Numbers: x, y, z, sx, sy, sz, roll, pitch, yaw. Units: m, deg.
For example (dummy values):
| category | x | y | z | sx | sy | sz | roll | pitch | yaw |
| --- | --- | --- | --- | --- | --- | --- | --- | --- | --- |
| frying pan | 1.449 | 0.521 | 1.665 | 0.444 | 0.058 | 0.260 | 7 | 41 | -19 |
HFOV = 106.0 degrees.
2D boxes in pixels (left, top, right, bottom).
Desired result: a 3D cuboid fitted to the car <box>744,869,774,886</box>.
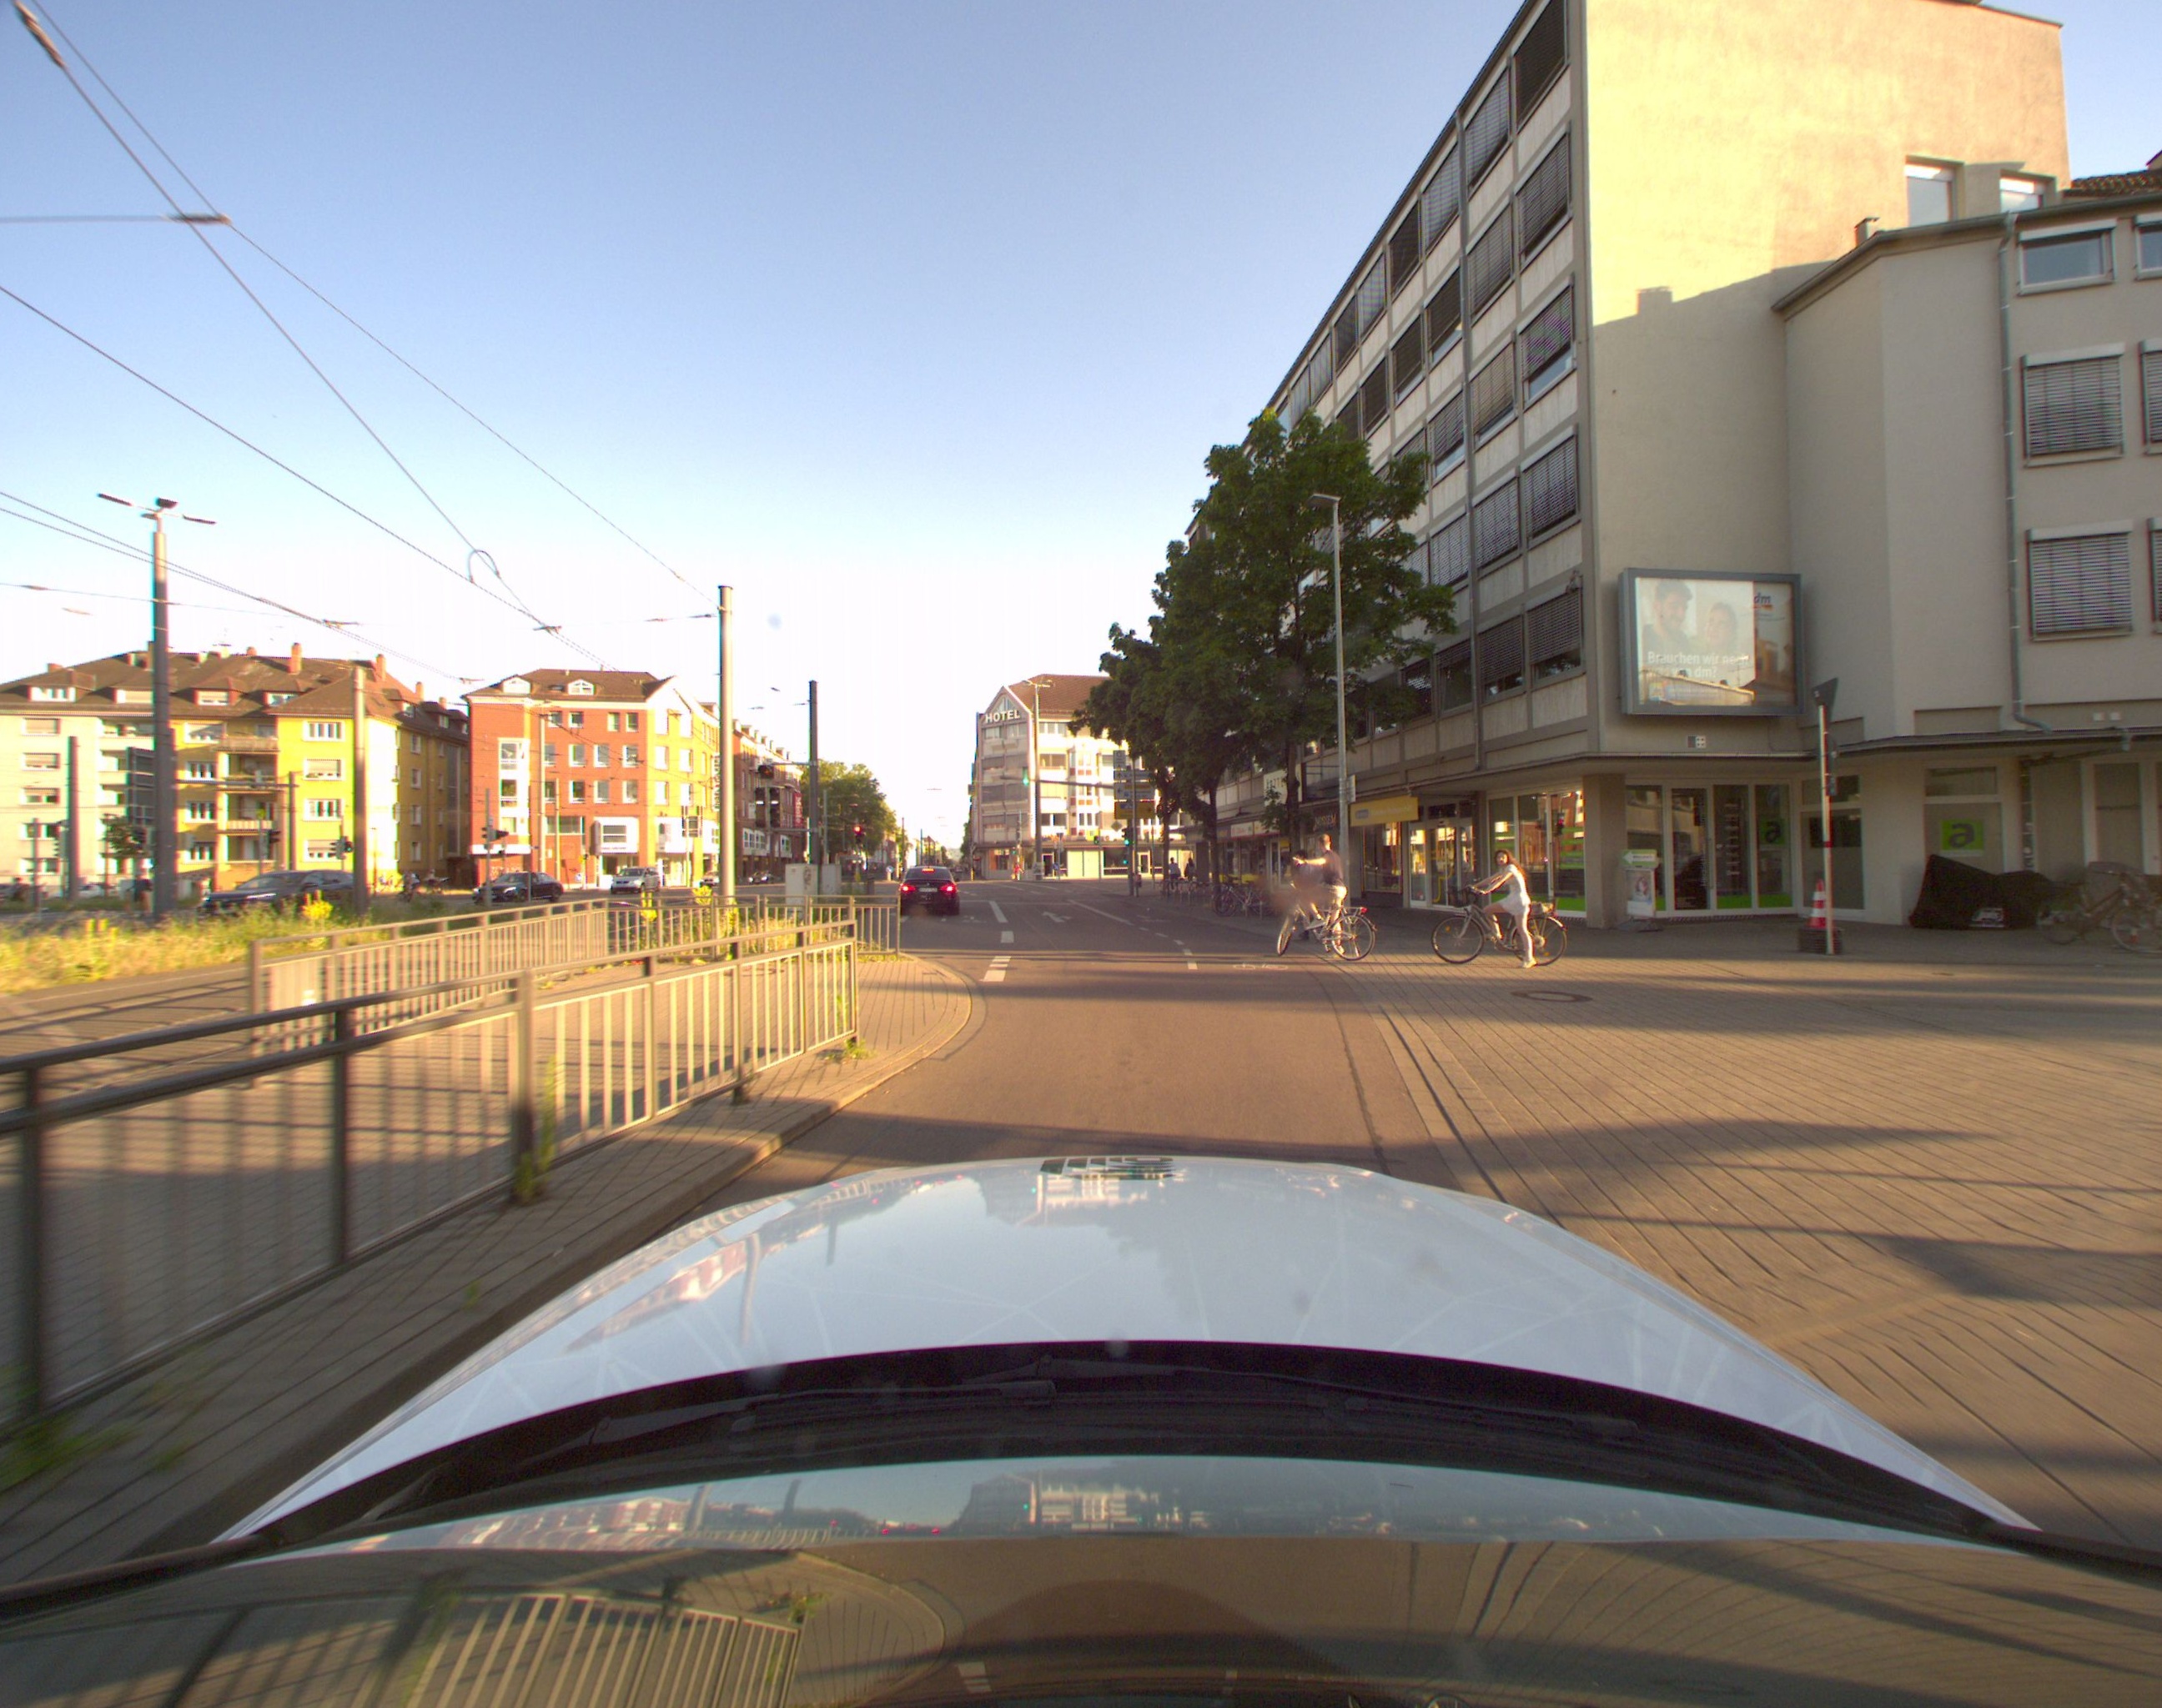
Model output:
| category | x | y | z | sx | sy | sz | roll | pitch | yaw |
| --- | --- | --- | --- | --- | --- | --- | --- | --- | --- |
| car | -33.602 | 2.435 | 85.090 | 1.994 | 1.585 | 4.462 | -1 | -1 | -11 |

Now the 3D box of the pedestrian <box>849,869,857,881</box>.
| category | x | y | z | sx | sy | sz | roll | pitch | yaw |
| --- | --- | --- | --- | --- | --- | --- | --- | --- | --- |
| pedestrian | -32.906 | 2.974 | 117.563 | 0.988 | 1.681 | 0.723 | -1 | -1 | -10 |

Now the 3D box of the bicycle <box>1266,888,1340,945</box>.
| category | x | y | z | sx | sy | sz | roll | pitch | yaw |
| --- | --- | --- | --- | --- | --- | --- | --- | --- | --- |
| bicycle | 4.195 | 1.158 | 15.521 | 0.465 | 0.970 | 1.790 | -1 | -1 | -16 |

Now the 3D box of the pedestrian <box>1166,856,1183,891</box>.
| category | x | y | z | sx | sy | sz | roll | pitch | yaw |
| --- | --- | --- | --- | --- | --- | --- | --- | --- | --- |
| pedestrian | 4.445 | 0.930 | 38.818 | 0.683 | 1.667 | 0.670 | -1 | -1 | -5 |

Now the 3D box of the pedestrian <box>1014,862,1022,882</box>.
| category | x | y | z | sx | sy | sz | roll | pitch | yaw |
| --- | --- | --- | --- | --- | --- | --- | --- | --- | --- |
| pedestrian | -5.821 | 1.669 | 75.079 | 0.685 | 1.854 | 0.668 | -1 | -1 | -12 |

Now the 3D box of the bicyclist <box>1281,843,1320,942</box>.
| category | x | y | z | sx | sy | sz | roll | pitch | yaw |
| --- | --- | --- | --- | --- | --- | --- | --- | --- | --- |
| bicyclist | 4.179 | 0.723 | 15.549 | 0.465 | 1.830 | 0.556 | -1 | -1 | -17 |

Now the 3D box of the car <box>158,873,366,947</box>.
| category | x | y | z | sx | sy | sz | roll | pitch | yaw |
| --- | --- | --- | --- | --- | --- | --- | --- | --- | --- |
| car | -24.252 | 1.563 | 24.433 | 1.994 | 1.901 | 4.793 | -1 | -1 | -11 |

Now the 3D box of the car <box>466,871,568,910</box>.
| category | x | y | z | sx | sy | sz | roll | pitch | yaw |
| --- | --- | --- | --- | --- | --- | --- | --- | --- | --- |
| car | -25.037 | 1.572 | 36.360 | 1.994 | 1.585 | 4.569 | -1 | -1 | -11 |

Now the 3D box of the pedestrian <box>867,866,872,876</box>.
| category | x | y | z | sx | sy | sz | roll | pitch | yaw |
| --- | --- | --- | --- | --- | --- | --- | --- | --- | --- |
| pedestrian | -35.748 | 2.821 | 137.568 | 0.723 | 1.681 | 0.989 | -1 | -1 | -6 |

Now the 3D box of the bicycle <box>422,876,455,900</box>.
| category | x | y | z | sx | sy | sz | roll | pitch | yaw |
| --- | --- | --- | --- | --- | --- | --- | --- | --- | --- |
| bicycle | -37.386 | 1.956 | 47.418 | 0.618 | 1.325 | 2.007 | 1 | -1 | -12 |

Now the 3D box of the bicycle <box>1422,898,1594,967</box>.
| category | x | y | z | sx | sy | sz | roll | pitch | yaw |
| --- | --- | --- | --- | --- | --- | --- | --- | --- | --- |
| bicycle | 5.911 | 1.075 | 11.414 | 1.991 | 0.881 | 0.844 | -1 | -1 | 15 |

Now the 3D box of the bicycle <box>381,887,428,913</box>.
| category | x | y | z | sx | sy | sz | roll | pitch | yaw |
| --- | --- | --- | --- | --- | --- | --- | --- | --- | --- |
| bicycle | -28.545 | 1.936 | 34.390 | 0.664 | 1.008 | 1.621 | -1 | -1 | -2 |

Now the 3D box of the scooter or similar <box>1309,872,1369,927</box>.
| category | x | y | z | sx | sy | sz | roll | pitch | yaw |
| --- | --- | --- | --- | --- | --- | --- | --- | --- | --- |
| scooter or similar | 5.971 | 1.038 | 18.878 | 1.261 | 1.235 | 0.340 | -1 | -1 | 33 |

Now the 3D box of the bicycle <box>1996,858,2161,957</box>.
| category | x | y | z | sx | sy | sz | roll | pitch | yaw |
| --- | --- | --- | --- | --- | --- | --- | --- | --- | --- |
| bicycle | 14.813 | 0.732 | 11.994 | 0.697 | 1.220 | 2.122 | -1 | 2 | 14 |

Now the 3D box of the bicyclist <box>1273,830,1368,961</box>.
| category | x | y | z | sx | sy | sz | roll | pitch | yaw |
| --- | --- | --- | --- | --- | --- | --- | --- | --- | --- |
| bicyclist | 3.679 | 0.611 | 12.546 | 1.101 | 1.917 | 0.845 | -2 | -1 | 45 |

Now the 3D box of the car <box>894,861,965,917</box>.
| category | x | y | z | sx | sy | sz | roll | pitch | yaw |
| --- | --- | --- | --- | --- | --- | --- | --- | --- | --- |
| car | -4.705 | 1.039 | 25.388 | 1.994 | 1.585 | 3.985 | 1 | -1 | -10 |

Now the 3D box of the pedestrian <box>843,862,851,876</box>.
| category | x | y | z | sx | sy | sz | roll | pitch | yaw |
| --- | --- | --- | --- | --- | --- | --- | --- | --- | --- |
| pedestrian | -32.387 | 2.060 | 112.665 | 0.988 | 2.014 | 0.723 | 1 | -2 | -10 |

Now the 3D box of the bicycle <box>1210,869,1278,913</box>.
| category | x | y | z | sx | sy | sz | roll | pitch | yaw |
| --- | --- | --- | --- | --- | --- | --- | --- | --- | --- |
| bicycle | 4.813 | 1.093 | 24.140 | 1.896 | 1.235 | 0.668 | -1 | -1 | 2 |

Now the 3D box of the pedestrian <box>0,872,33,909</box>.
| category | x | y | z | sx | sy | sz | roll | pitch | yaw |
| --- | --- | --- | --- | --- | --- | --- | --- | --- | --- |
| pedestrian | -54.472 | 1.872 | 41.699 | 0.723 | 1.868 | 0.877 | -1 | -1 | -28 |

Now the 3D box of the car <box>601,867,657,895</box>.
| category | x | y | z | sx | sy | sz | roll | pitch | yaw |
| --- | --- | --- | --- | --- | --- | --- | --- | --- | --- |
| car | -27.639 | 1.636 | 49.958 | 1.997 | 1.585 | 4.092 | -1 | -1 | -15 |

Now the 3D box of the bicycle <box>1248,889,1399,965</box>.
| category | x | y | z | sx | sy | sz | roll | pitch | yaw |
| --- | --- | --- | --- | --- | --- | --- | --- | --- | --- |
| bicycle | 3.696 | 1.079 | 12.532 | 2.051 | 1.020 | 0.845 | -2 | -1 | 44 |

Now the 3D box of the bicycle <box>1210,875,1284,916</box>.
| category | x | y | z | sx | sy | sz | roll | pitch | yaw |
| --- | --- | --- | --- | --- | --- | --- | --- | --- | --- |
| bicycle | 4.712 | 1.183 | 23.161 | 1.987 | 1.110 | 0.669 | -1 | -1 | 4 |

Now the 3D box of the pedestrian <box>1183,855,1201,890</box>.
| category | x | y | z | sx | sy | sz | roll | pitch | yaw |
| --- | --- | --- | --- | --- | --- | --- | --- | --- | --- |
| pedestrian | 5.352 | 0.880 | 39.332 | 0.722 | 1.667 | 0.670 | -1 | -1 | -5 |

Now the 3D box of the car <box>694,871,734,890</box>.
| category | x | y | z | sx | sy | sz | roll | pitch | yaw |
| --- | --- | --- | --- | --- | --- | --- | --- | --- | --- |
| car | -30.415 | 2.160 | 67.592 | 1.666 | 1.448 | 4.196 | -1 | -1 | -4 |

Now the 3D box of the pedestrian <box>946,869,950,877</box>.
| category | x | y | z | sx | sy | sz | roll | pitch | yaw |
| --- | --- | --- | --- | --- | --- | --- | --- | --- | --- |
| pedestrian | -31.362 | 4.468 | 192.631 | 0.914 | 2.014 | 0.884 | -1 | -1 | -10 |

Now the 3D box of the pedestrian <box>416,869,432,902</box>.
| category | x | y | z | sx | sy | sz | roll | pitch | yaw |
| --- | --- | --- | --- | --- | --- | --- | --- | --- | --- |
| pedestrian | -37.861 | 1.806 | 46.928 | 0.503 | 1.868 | 0.560 | 1 | -1 | -14 |

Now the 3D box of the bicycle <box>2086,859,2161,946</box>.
| category | x | y | z | sx | sy | sz | roll | pitch | yaw |
| --- | --- | --- | --- | --- | --- | --- | --- | --- | --- |
| bicycle | 15.874 | 0.702 | 11.685 | 0.697 | 1.220 | 2.121 | -1 | 1 | 14 |

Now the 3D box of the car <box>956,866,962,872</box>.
| category | x | y | z | sx | sy | sz | roll | pitch | yaw |
| --- | --- | --- | --- | --- | --- | --- | --- | --- | --- |
| car | -32.097 | 4.062 | 214.618 | 1.472 | 1.515 | 3.085 | -1 | -1 | -9 |

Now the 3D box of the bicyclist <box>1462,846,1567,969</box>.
| category | x | y | z | sx | sy | sz | roll | pitch | yaw |
| --- | --- | --- | --- | --- | --- | --- | --- | --- | --- |
| bicyclist | 6.019 | 0.723 | 11.369 | 1.103 | 1.623 | 0.844 | -1 | -1 | 15 |

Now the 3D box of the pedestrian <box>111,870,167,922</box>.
| category | x | y | z | sx | sy | sz | roll | pitch | yaw |
| --- | --- | --- | --- | --- | --- | --- | --- | --- | --- |
| pedestrian | -36.669 | 1.621 | 31.719 | 1.103 | 1.944 | 1.016 | -1 | -1 | -28 |

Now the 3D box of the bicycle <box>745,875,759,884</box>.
| category | x | y | z | sx | sy | sz | roll | pitch | yaw |
| --- | --- | --- | --- | --- | --- | --- | --- | --- | --- |
| bicycle | -37.193 | 2.872 | 92.078 | 1.419 | 0.922 | 0.440 | 1 | -1 | -25 |

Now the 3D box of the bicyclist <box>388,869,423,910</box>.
| category | x | y | z | sx | sy | sz | roll | pitch | yaw |
| --- | --- | --- | --- | --- | --- | --- | --- | --- | --- |
| bicyclist | -28.554 | 1.498 | 34.444 | 0.661 | 1.688 | 0.979 | -1 | -1 | -2 |
